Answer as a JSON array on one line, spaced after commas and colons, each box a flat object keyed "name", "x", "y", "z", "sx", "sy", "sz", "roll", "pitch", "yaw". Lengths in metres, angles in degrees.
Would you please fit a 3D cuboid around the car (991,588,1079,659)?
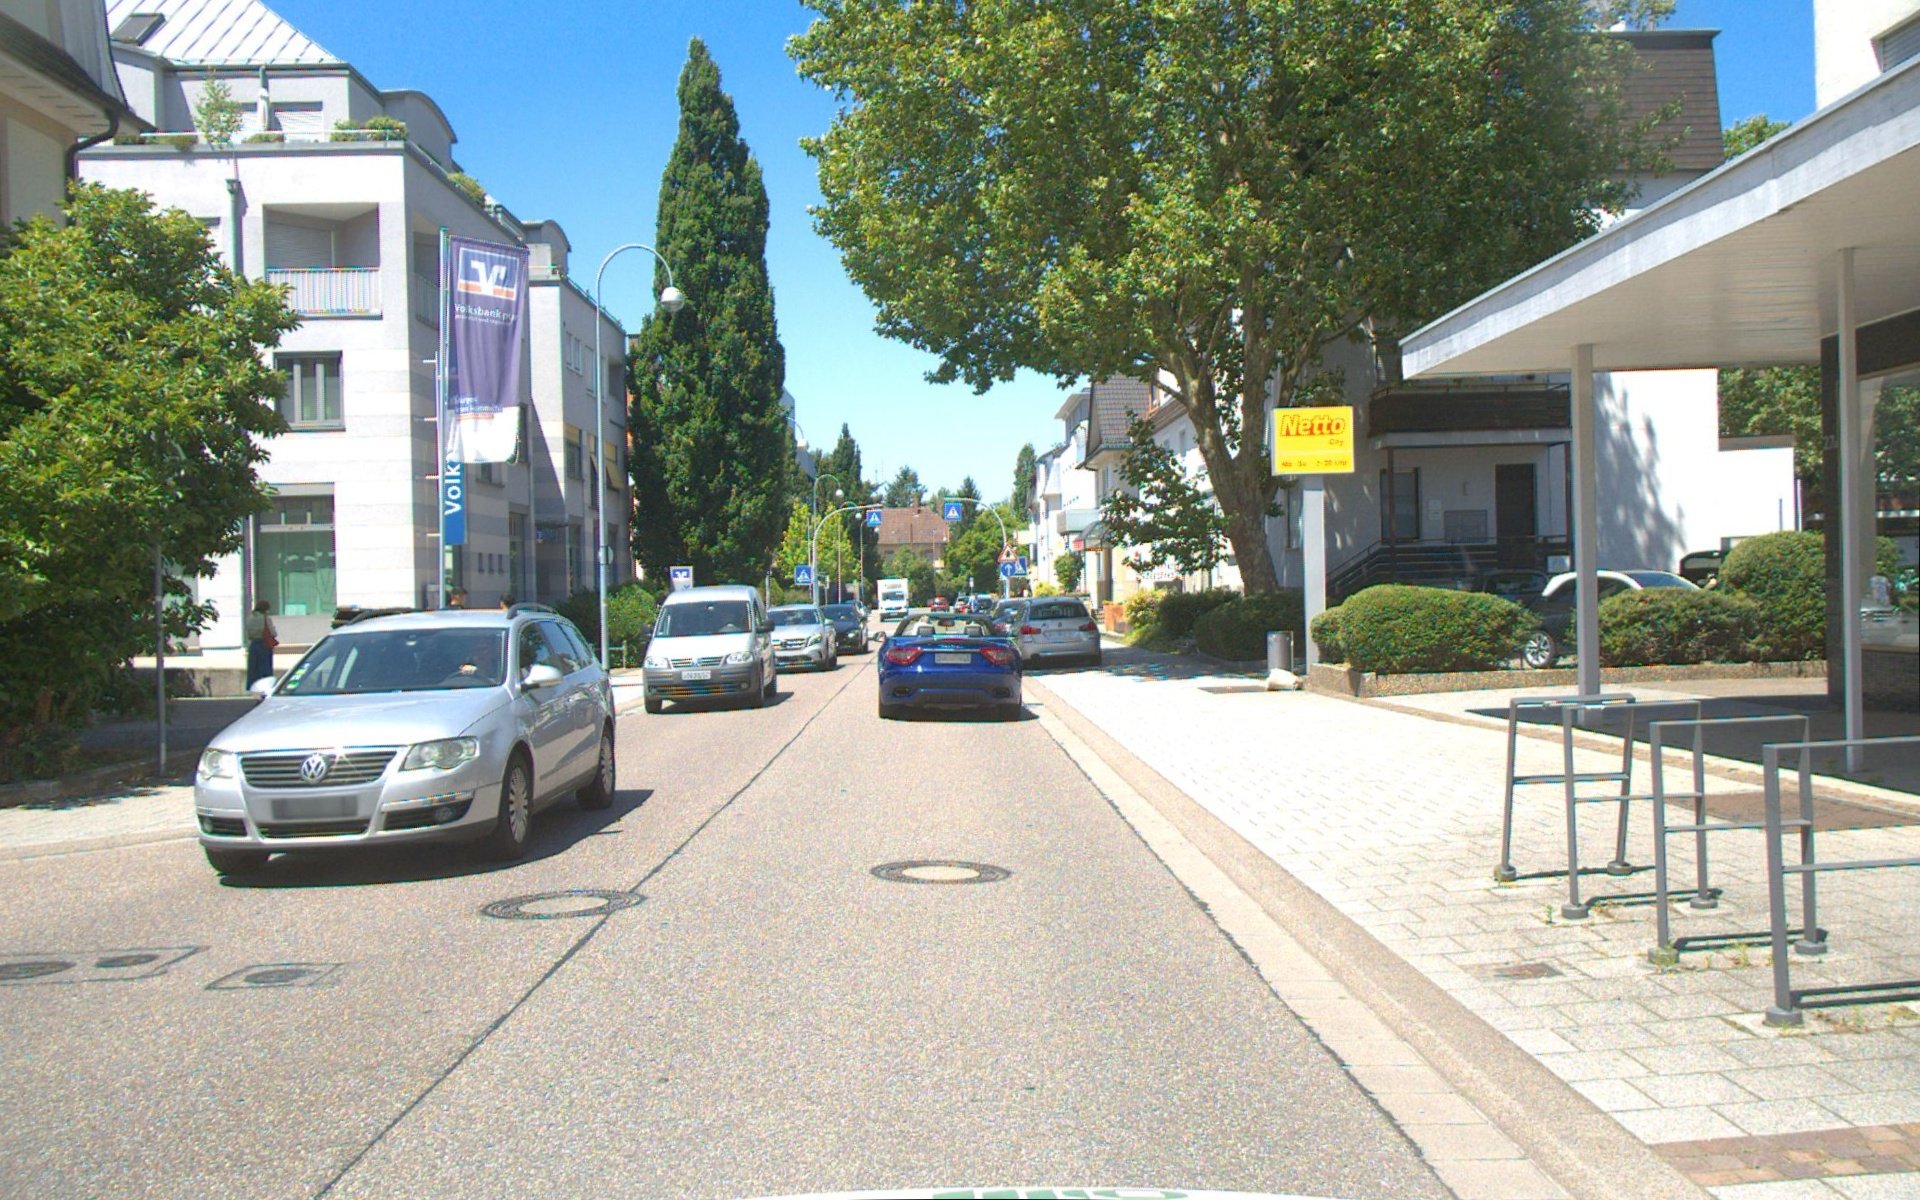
[{"name": "car", "x": 1.897, "y": 0.562, "z": 43.058, "sx": 1.936, "sy": 1.583, "sz": 4.348, "roll": -3, "pitch": 1, "yaw": -1}]

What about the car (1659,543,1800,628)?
[{"name": "car", "x": 15.371, "y": -0.302, "z": 33.230, "sx": 1.805, "sy": 1.478, "sz": 4.003, "roll": -4, "pitch": 0, "yaw": 15}]

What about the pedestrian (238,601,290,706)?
[{"name": "pedestrian", "x": -11.126, "y": 0.848, "z": 26.467, "sx": 0.668, "sy": 1.652, "sz": 0.712, "roll": 1, "pitch": -2, "yaw": -17}]

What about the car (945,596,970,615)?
[{"name": "car", "x": -0.239, "y": 0.466, "z": 138.069, "sx": 1.911, "sy": 1.502, "sz": 4.136, "roll": -3, "pitch": 0, "yaw": -2}]

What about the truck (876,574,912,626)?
[{"name": "truck", "x": -4.829, "y": 0.000, "z": 119.803, "sx": 2.373, "sy": 3.542, "sz": 6.999, "roll": -3, "pitch": 0, "yaw": -3}]

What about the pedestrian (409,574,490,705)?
[{"name": "pedestrian", "x": -7.101, "y": 0.552, "z": 23.032, "sx": 0.867, "sy": 1.780, "sz": 0.817, "roll": 0, "pitch": -2, "yaw": -1}]

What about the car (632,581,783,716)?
[{"name": "car", "x": -3.774, "y": 0.657, "z": 25.343, "sx": 1.734, "sy": 1.798, "sz": 4.136, "roll": -3, "pitch": 1, "yaw": -2}]

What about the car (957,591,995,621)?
[{"name": "car", "x": 0.880, "y": 0.326, "z": 93.097, "sx": 1.911, "sy": 1.502, "sz": 4.136, "roll": -3, "pitch": 0, "yaw": -2}]

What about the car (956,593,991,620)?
[{"name": "car", "x": 0.772, "y": 0.381, "z": 99.994, "sx": 1.911, "sy": 1.502, "sz": 4.136, "roll": -3, "pitch": 0, "yaw": -2}]

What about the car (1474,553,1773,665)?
[{"name": "car", "x": 10.078, "y": 0.181, "z": 25.415, "sx": 1.824, "sy": 1.478, "sz": 3.962, "roll": -4, "pitch": 0, "yaw": -28}]

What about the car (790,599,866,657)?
[{"name": "car", "x": -3.805, "y": 0.776, "z": 48.262, "sx": 1.911, "sy": 1.502, "sz": 4.136, "roll": -3, "pitch": 0, "yaw": -2}]

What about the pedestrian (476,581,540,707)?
[{"name": "pedestrian", "x": -6.287, "y": 0.618, "z": 23.032, "sx": 0.618, "sy": 1.720, "sz": 0.961, "roll": 0, "pitch": -2, "yaw": -1}]

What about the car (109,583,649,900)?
[{"name": "car", "x": -3.463, "y": 0.771, "z": 10.974, "sx": 1.910, "sy": 1.535, "sz": 4.795, "roll": -3, "pitch": -1, "yaw": -1}]

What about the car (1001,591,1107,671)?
[{"name": "car", "x": 1.989, "y": 0.633, "z": 36.169, "sx": 1.936, "sy": 1.475, "sz": 4.348, "roll": -3, "pitch": 1, "yaw": -1}]

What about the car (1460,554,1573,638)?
[{"name": "car", "x": 11.170, "y": -0.096, "z": 33.428, "sx": 1.805, "sy": 1.478, "sz": 4.003, "roll": -4, "pitch": 0, "yaw": 15}]

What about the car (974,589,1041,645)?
[{"name": "car", "x": 1.533, "y": 0.526, "z": 54.580, "sx": 1.936, "sy": 1.583, "sz": 4.348, "roll": -3, "pitch": 1, "yaw": -1}]

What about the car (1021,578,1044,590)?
[{"name": "car", "x": 9.816, "y": -2.131, "z": 222.466, "sx": 1.910, "sy": 1.502, "sz": 4.139, "roll": -3, "pitch": 0, "yaw": 19}]

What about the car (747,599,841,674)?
[{"name": "car", "x": -3.717, "y": 0.782, "z": 37.581, "sx": 1.734, "sy": 1.502, "sz": 4.136, "roll": -3, "pitch": 0, "yaw": -2}]

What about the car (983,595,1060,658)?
[{"name": "car", "x": 1.758, "y": 0.730, "z": 48.411, "sx": 1.936, "sy": 1.583, "sz": 4.348, "roll": -3, "pitch": 1, "yaw": -1}]

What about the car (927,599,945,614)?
[{"name": "car", "x": -2.496, "y": 0.706, "z": 171.630, "sx": 1.734, "sy": 1.502, "sz": 4.136, "roll": -1, "pitch": -1, "yaw": -2}]

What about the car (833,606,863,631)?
[{"name": "car", "x": -7.656, "y": 1.259, "z": 113.616, "sx": 1.912, "sy": 1.502, "sz": 4.135, "roll": -3, "pitch": 0, "yaw": -3}]

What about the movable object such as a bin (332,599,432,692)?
[{"name": "movable object such as a bin", "x": -10.364, "y": 0.799, "z": 29.714, "sx": 1.330, "sy": 1.520, "sz": 1.296, "roll": -3, "pitch": 2, "yaw": -5}]

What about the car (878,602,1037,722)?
[{"name": "car", "x": -0.127, "y": 0.758, "z": 22.599, "sx": 1.936, "sy": 1.422, "sz": 4.625, "roll": 0, "pitch": 0, "yaw": -3}]

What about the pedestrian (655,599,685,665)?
[{"name": "pedestrian", "x": -7.220, "y": 0.786, "z": 41.202, "sx": 0.575, "sy": 1.602, "sz": 0.781, "roll": -1, "pitch": 0, "yaw": -2}]

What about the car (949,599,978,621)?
[{"name": "car", "x": 0.224, "y": 0.727, "z": 121.343, "sx": 1.911, "sy": 1.502, "sz": 4.136, "roll": -3, "pitch": 0, "yaw": -2}]
